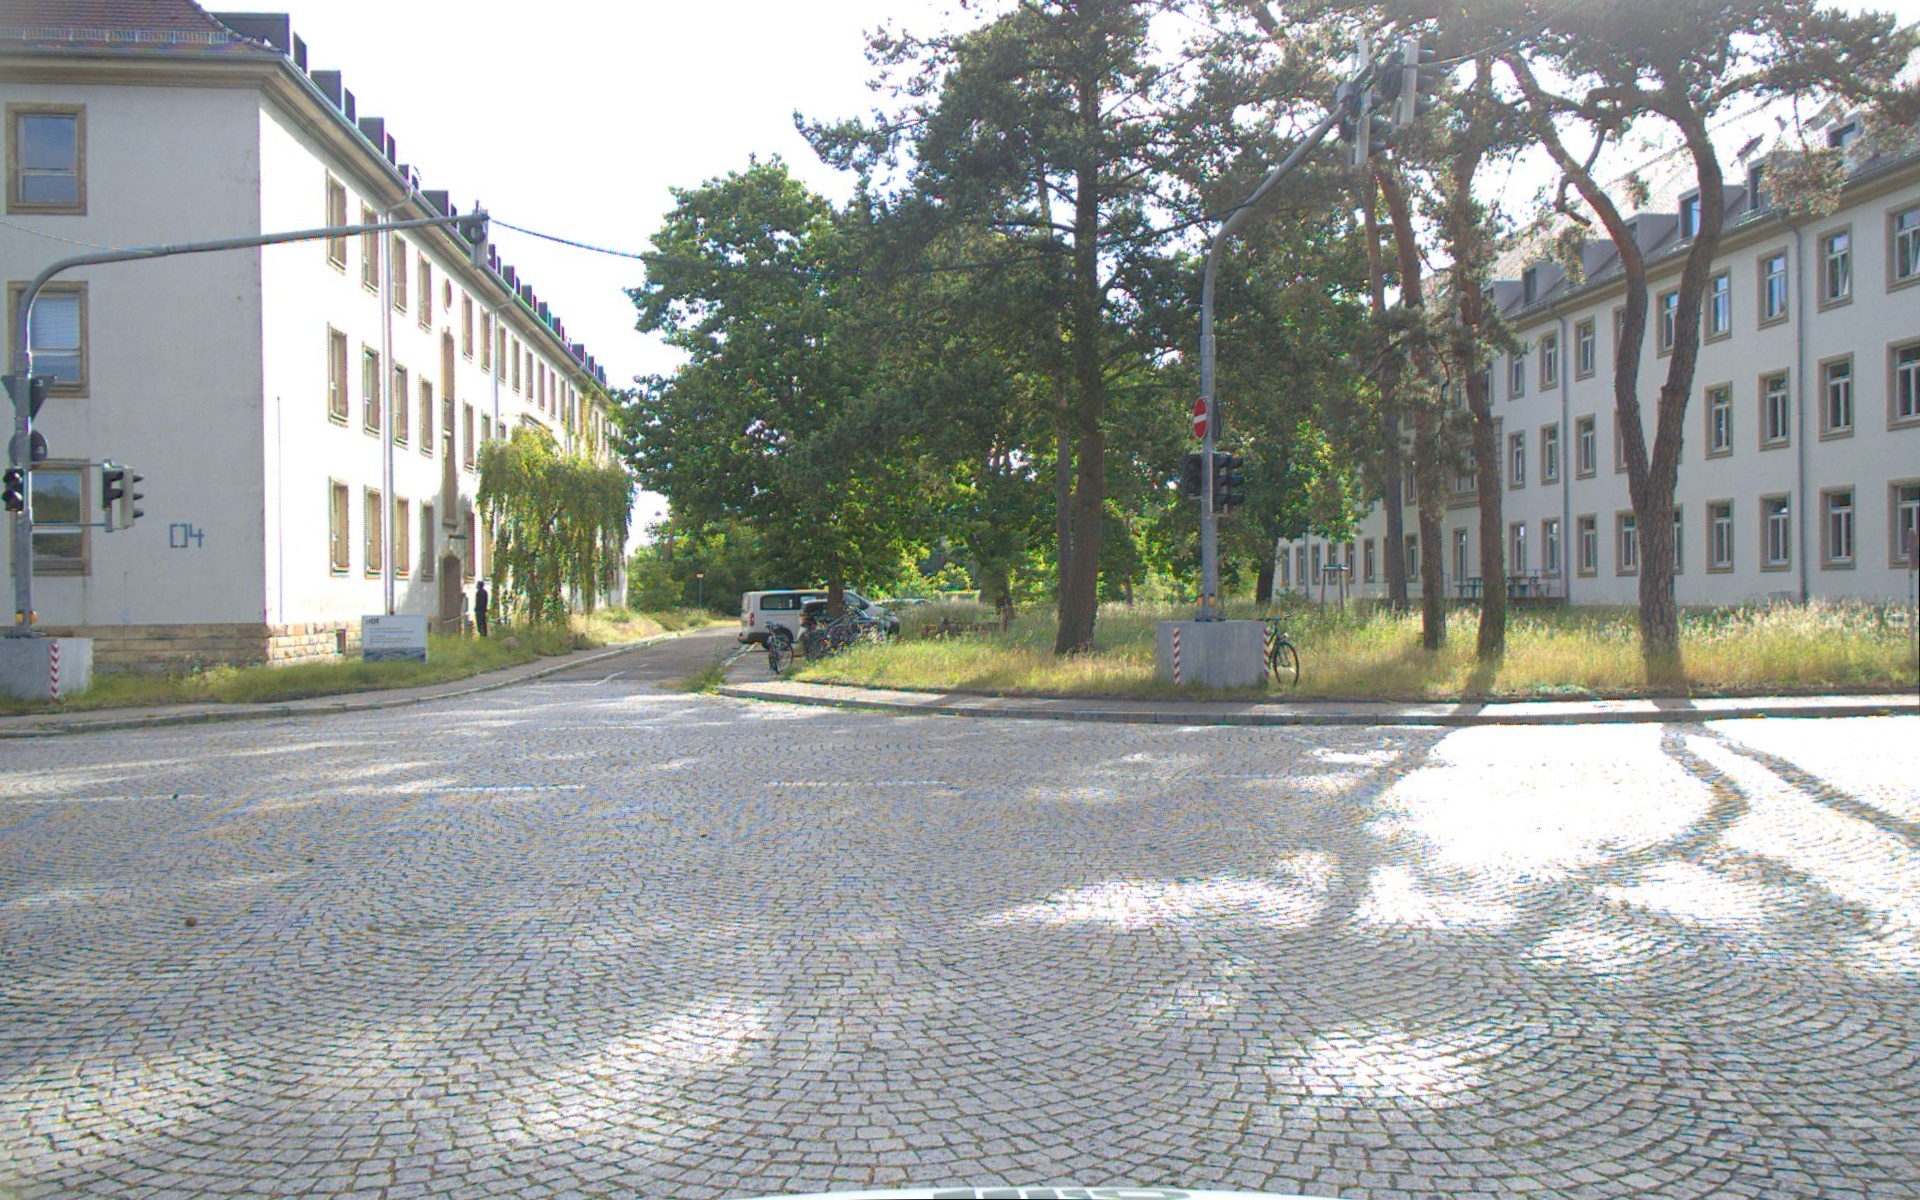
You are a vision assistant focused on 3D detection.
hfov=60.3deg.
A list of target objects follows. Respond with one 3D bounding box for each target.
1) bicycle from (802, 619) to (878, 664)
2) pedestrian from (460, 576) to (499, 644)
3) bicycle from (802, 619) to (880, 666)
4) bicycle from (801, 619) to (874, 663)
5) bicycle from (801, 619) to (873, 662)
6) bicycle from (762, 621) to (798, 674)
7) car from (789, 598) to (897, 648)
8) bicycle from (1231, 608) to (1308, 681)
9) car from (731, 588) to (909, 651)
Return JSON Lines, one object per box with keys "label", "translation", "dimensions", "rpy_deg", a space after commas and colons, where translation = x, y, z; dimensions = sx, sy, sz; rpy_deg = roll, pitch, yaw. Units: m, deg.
{"label": "bicycle", "translation": [-2.853, 0.983, 39.279], "dimensions": [1.759, 1.016, 0.643], "rpy_deg": [-1, 1, -7]}
{"label": "pedestrian", "translation": [-14.373, 0.290, 49.463], "dimensions": [0.966, 1.998, 0.931], "rpy_deg": [0, -1, -6]}
{"label": "bicycle", "translation": [-2.753, 0.971, 38.265], "dimensions": [1.759, 1.016, 0.643], "rpy_deg": [-1, 1, -7]}
{"label": "bicycle", "translation": [-3.031, 0.997, 40.767], "dimensions": [1.759, 1.016, 0.643], "rpy_deg": [-1, 1, -7]}
{"label": "bicycle", "translation": [-3.095, 1.003, 41.503], "dimensions": [1.759, 1.016, 0.643], "rpy_deg": [-1, 1, -7]}
{"label": "bicycle", "translation": [-3.748, 0.981, 34.556], "dimensions": [0.714, 1.016, 1.797], "rpy_deg": [-1, 1, -6]}
{"label": "car", "translation": [-3.590, 0.707, 50.601], "dimensions": [2.986, 1.491, 1.711], "rpy_deg": [0, -1, -19]}
{"label": "bicycle", "translation": [4.620, 0.645, 24.802], "dimensions": [0.552, 1.016, 1.748], "rpy_deg": [-1, 1, -10]}
{"label": "car", "translation": [-4.585, 0.619, 54.079], "dimensions": [5.419, 1.949, 2.241], "rpy_deg": [0, -1, -20]}
